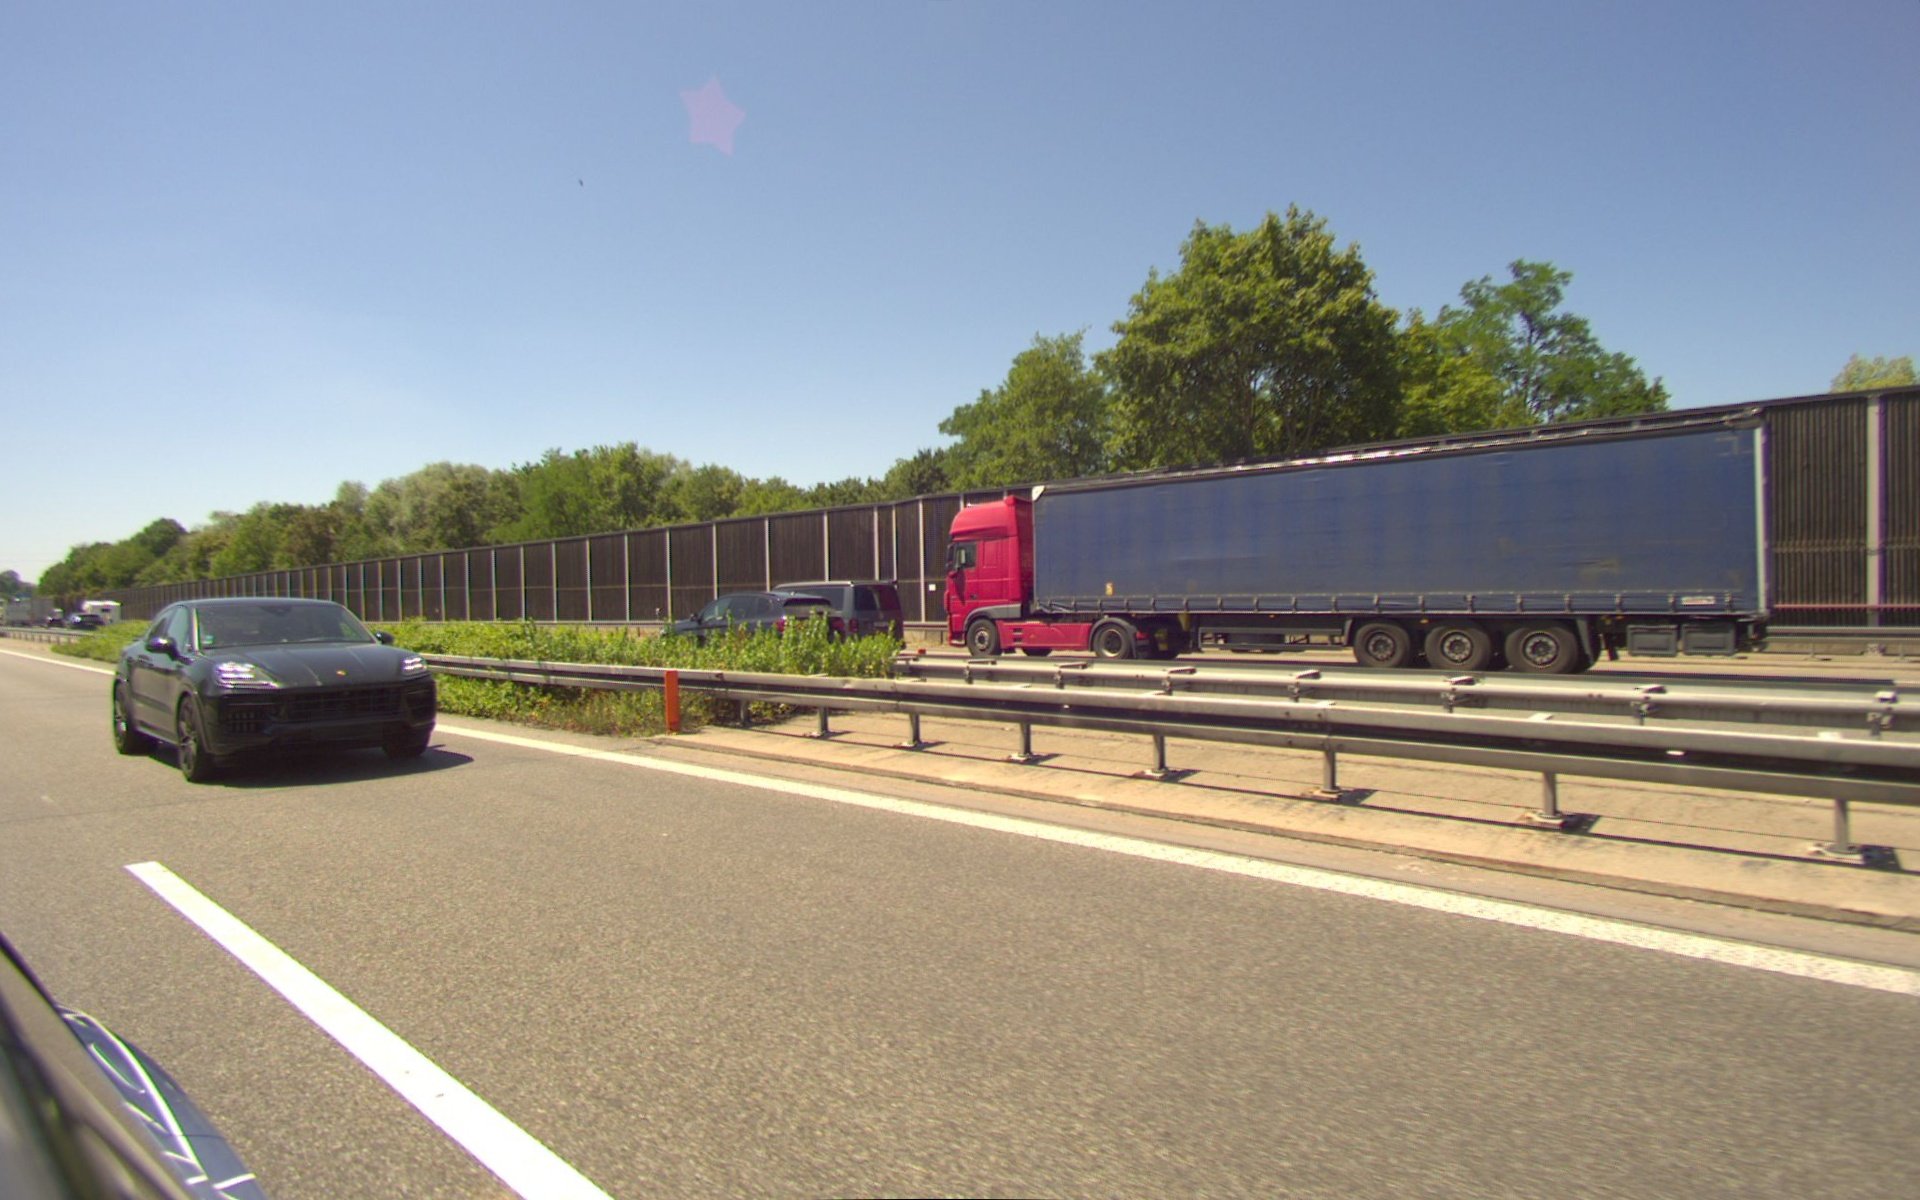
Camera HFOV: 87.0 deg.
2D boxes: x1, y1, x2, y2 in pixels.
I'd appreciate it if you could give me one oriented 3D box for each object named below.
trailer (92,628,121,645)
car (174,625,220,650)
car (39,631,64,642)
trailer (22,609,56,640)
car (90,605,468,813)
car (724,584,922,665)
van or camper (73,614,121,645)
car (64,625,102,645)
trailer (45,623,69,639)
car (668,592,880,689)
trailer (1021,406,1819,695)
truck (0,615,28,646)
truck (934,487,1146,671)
[{"bbox_3d":[-84.700,3.659,100.438,3.091,1.591,1.709,-2,-6,41],"label":"trailer"},{"bbox_3d":[-53.334,2.614,70.720,3.999,1.612,1.794,-2,-1,42],"label":"car"},{"bbox_3d":[-113.730,4.546,126.630,4.581,1.385,1.899,-2,-1,42],"label":"car"},{"bbox_3d":[-128.192,3.462,140.834,14.208,4.107,2.316,-2,-1,43],"label":"trailer"},{"bbox_3d":[-7.426,0.933,10.701,5.770,1.637,2.022,-2,-1,42],"label":"car"},{"bbox_3d":[-3.525,0.587,25.350,5.217,1.829,1.973,-1,-1,41],"label":"car"},{"bbox_3d":[-88.632,3.075,103.950,7.372,2.936,2.531,-2,-6,41],"label":"van or camper"},{"bbox_3d":[-65.005,2.590,74.985,3.999,1.365,1.688,-2,-1,42],"label":"car"},{"bbox_3d":[-142.343,4.896,159.493,6.267,2.495,2.108,-2,-1,42],"label":"trailer"},{"bbox_3d":[-3.799,0.764,20.337,4.243,1.733,1.973,-1,-1,41],"label":"car"},{"bbox_3d":[7.611,-0.572,20.045,14.264,4.118,2.470,-1,-1,41],"label":"trailer"},{"bbox_3d":[-106.433,3.437,113.353,6.917,3.378,2.384,-2,-1,42],"label":"truck"},{"bbox_3d":[1.914,-0.425,25.077,4.675,4.118,2.461,-2,-1,41],"label":"truck"}]
